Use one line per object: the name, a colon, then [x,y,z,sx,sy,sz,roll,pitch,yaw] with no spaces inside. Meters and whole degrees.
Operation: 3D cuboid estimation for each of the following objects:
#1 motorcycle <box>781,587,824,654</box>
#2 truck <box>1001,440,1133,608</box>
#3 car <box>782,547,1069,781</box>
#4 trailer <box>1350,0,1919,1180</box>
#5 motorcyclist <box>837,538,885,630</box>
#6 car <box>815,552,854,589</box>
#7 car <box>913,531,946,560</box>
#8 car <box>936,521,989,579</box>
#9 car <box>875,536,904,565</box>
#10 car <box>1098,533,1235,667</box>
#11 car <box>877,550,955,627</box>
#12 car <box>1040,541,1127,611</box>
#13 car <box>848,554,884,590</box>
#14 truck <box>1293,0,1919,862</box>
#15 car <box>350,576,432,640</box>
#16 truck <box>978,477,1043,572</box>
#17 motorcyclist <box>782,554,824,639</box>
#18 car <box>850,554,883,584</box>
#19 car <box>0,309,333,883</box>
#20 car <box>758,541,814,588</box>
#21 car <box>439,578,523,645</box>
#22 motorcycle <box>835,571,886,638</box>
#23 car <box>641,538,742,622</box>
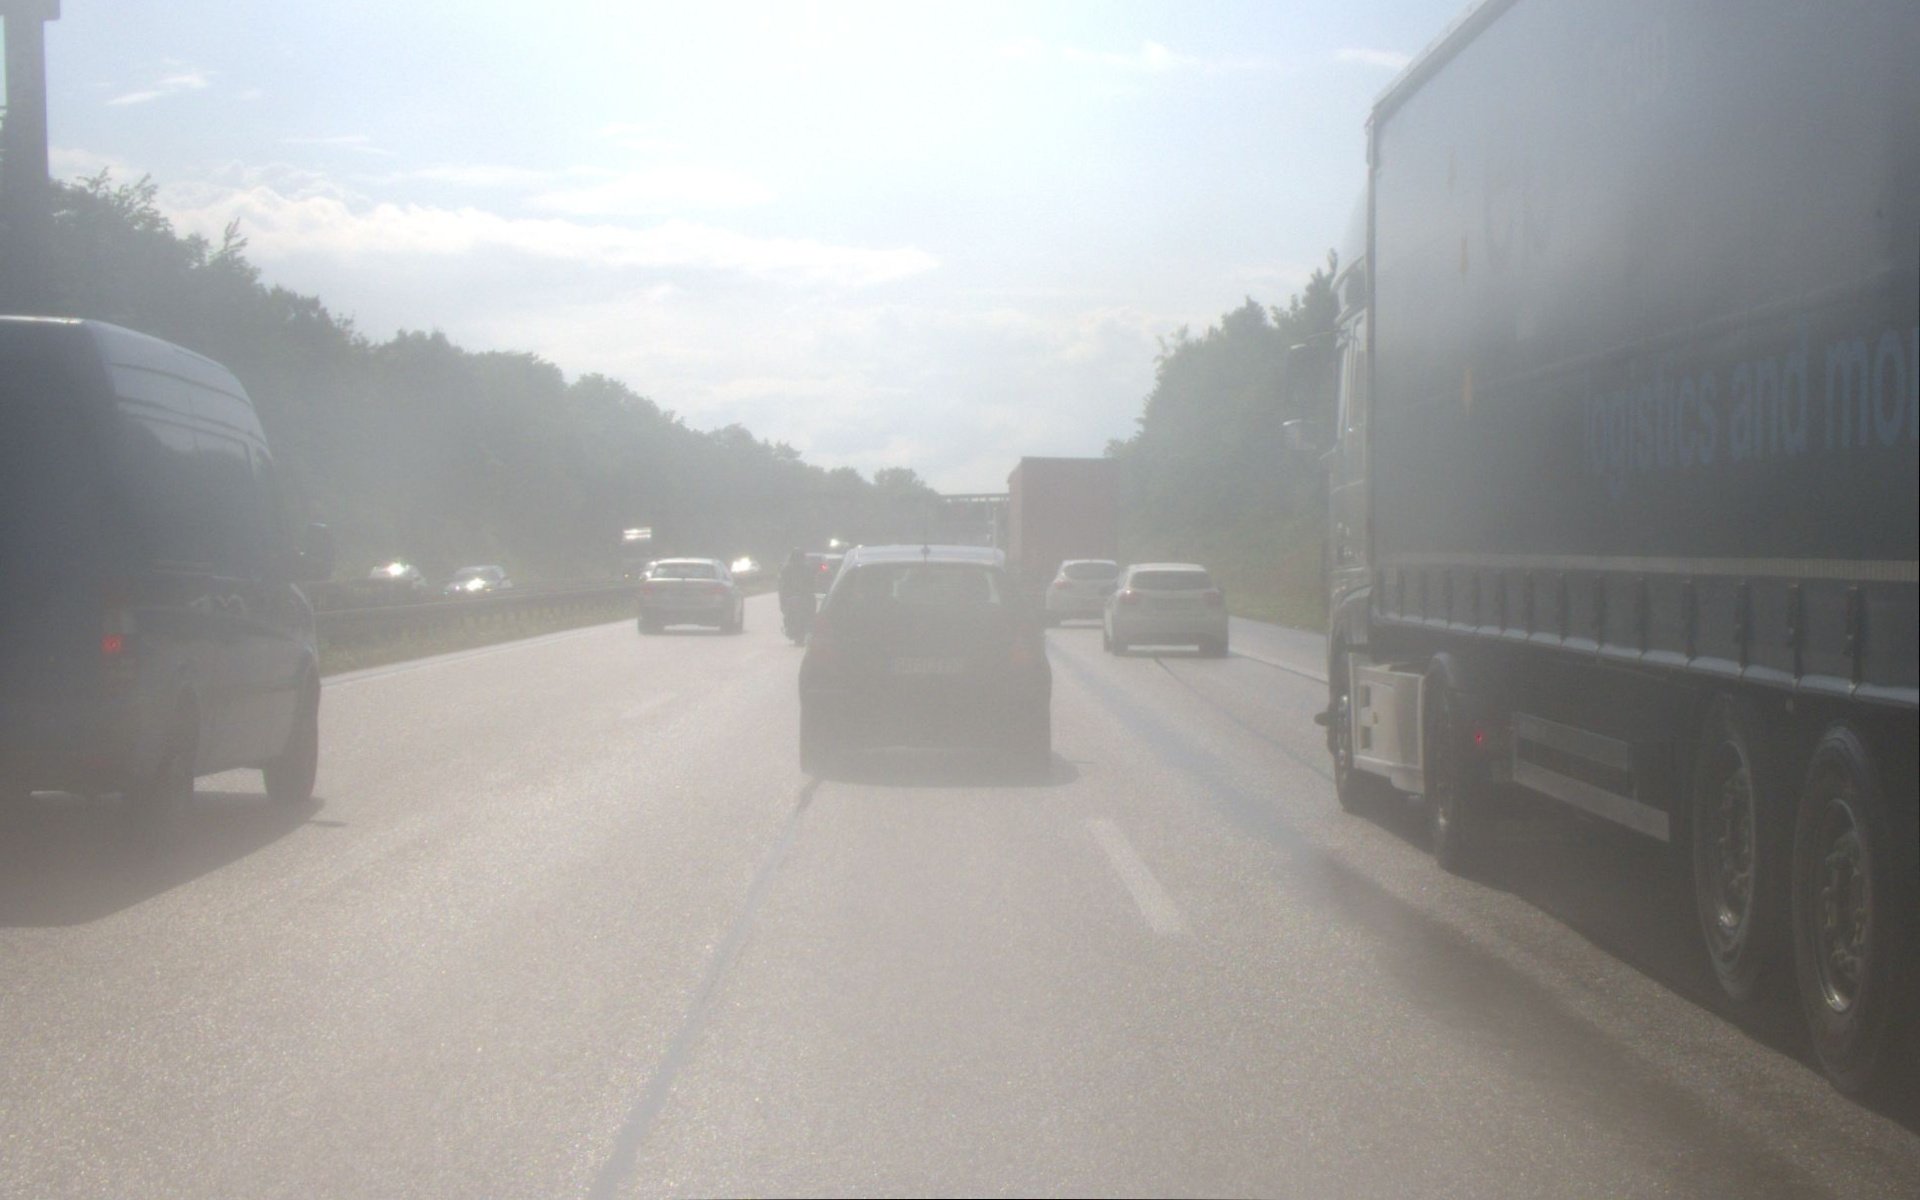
motorcycle: [-2.691,0.341,58.614,0.676,1.083,1.982,1,1,-4]
truck: [2.866,-2.050,94.899,3.202,4.389,9.433,0,1,-1]
car: [-0.285,0.400,25.204,1.915,1.560,4.314,0,1,-1]
trailer: [3.797,-0.824,12.184,3.088,4.298,14.106,0,1,0]
motorcyclist: [-1.928,-0.310,66.725,0.821,1.754,1.390,0,0,-6]
car: [-5.502,-1.300,150.733,1.675,1.591,3.437,0,1,-1]
car: [-1.602,-2.838,179.069,1.631,1.485,3.437,0,1,-1]
car: [0.062,-1.685,116.030,1.675,1.929,3.774,0,1,-1]
car: [-4.934,-3.440,241.683,1.993,2.007,4.000,1,0,-1]
car: [3.199,-0.014,53.941,1.849,2.007,4.087,1,0,-1]
car: [-1.211,-0.324,92.920,1.993,2.007,4.000,1,0,-2]
car: [2.660,-0.535,74.579,1.675,1.485,3.437,0,1,-1]
car: [-5.381,-1.605,196.484,1.993,2.007,4.000,1,0,-1]
truck: [3.741,-0.937,19.372,3.052,4.310,5.886,1,0,-1]
car: [-18.604,0.242,112.628,1.993,2.007,4.733,1,0,-1]
truck: [2.522,-3.797,175.936,2.882,4.671,12.659,1,0,-1]
motorcyclist: [-2.681,-0.061,58.565,0.670,1.437,1.020,0,0,-4]
car: [-4.783,-1.590,176.585,1.675,1.485,3.437,0,1,-1]
car: [-4.879,-0.061,18.712,2.015,2.639,5.777,0,1,-1]
car: [-6.216,-1.282,123.448,1.893,1.622,4.195,0,1,-1]
car: [-14.806,0.331,106.485,1.993,2.007,4.733,1,0,-1]
motorcycle: [-1.929,0.073,66.704,0.819,1.258,2.118,0,1,-6]
car: [-5.253,-0.417,67.721,1.758,1.589,4.331,0,1,-1]
